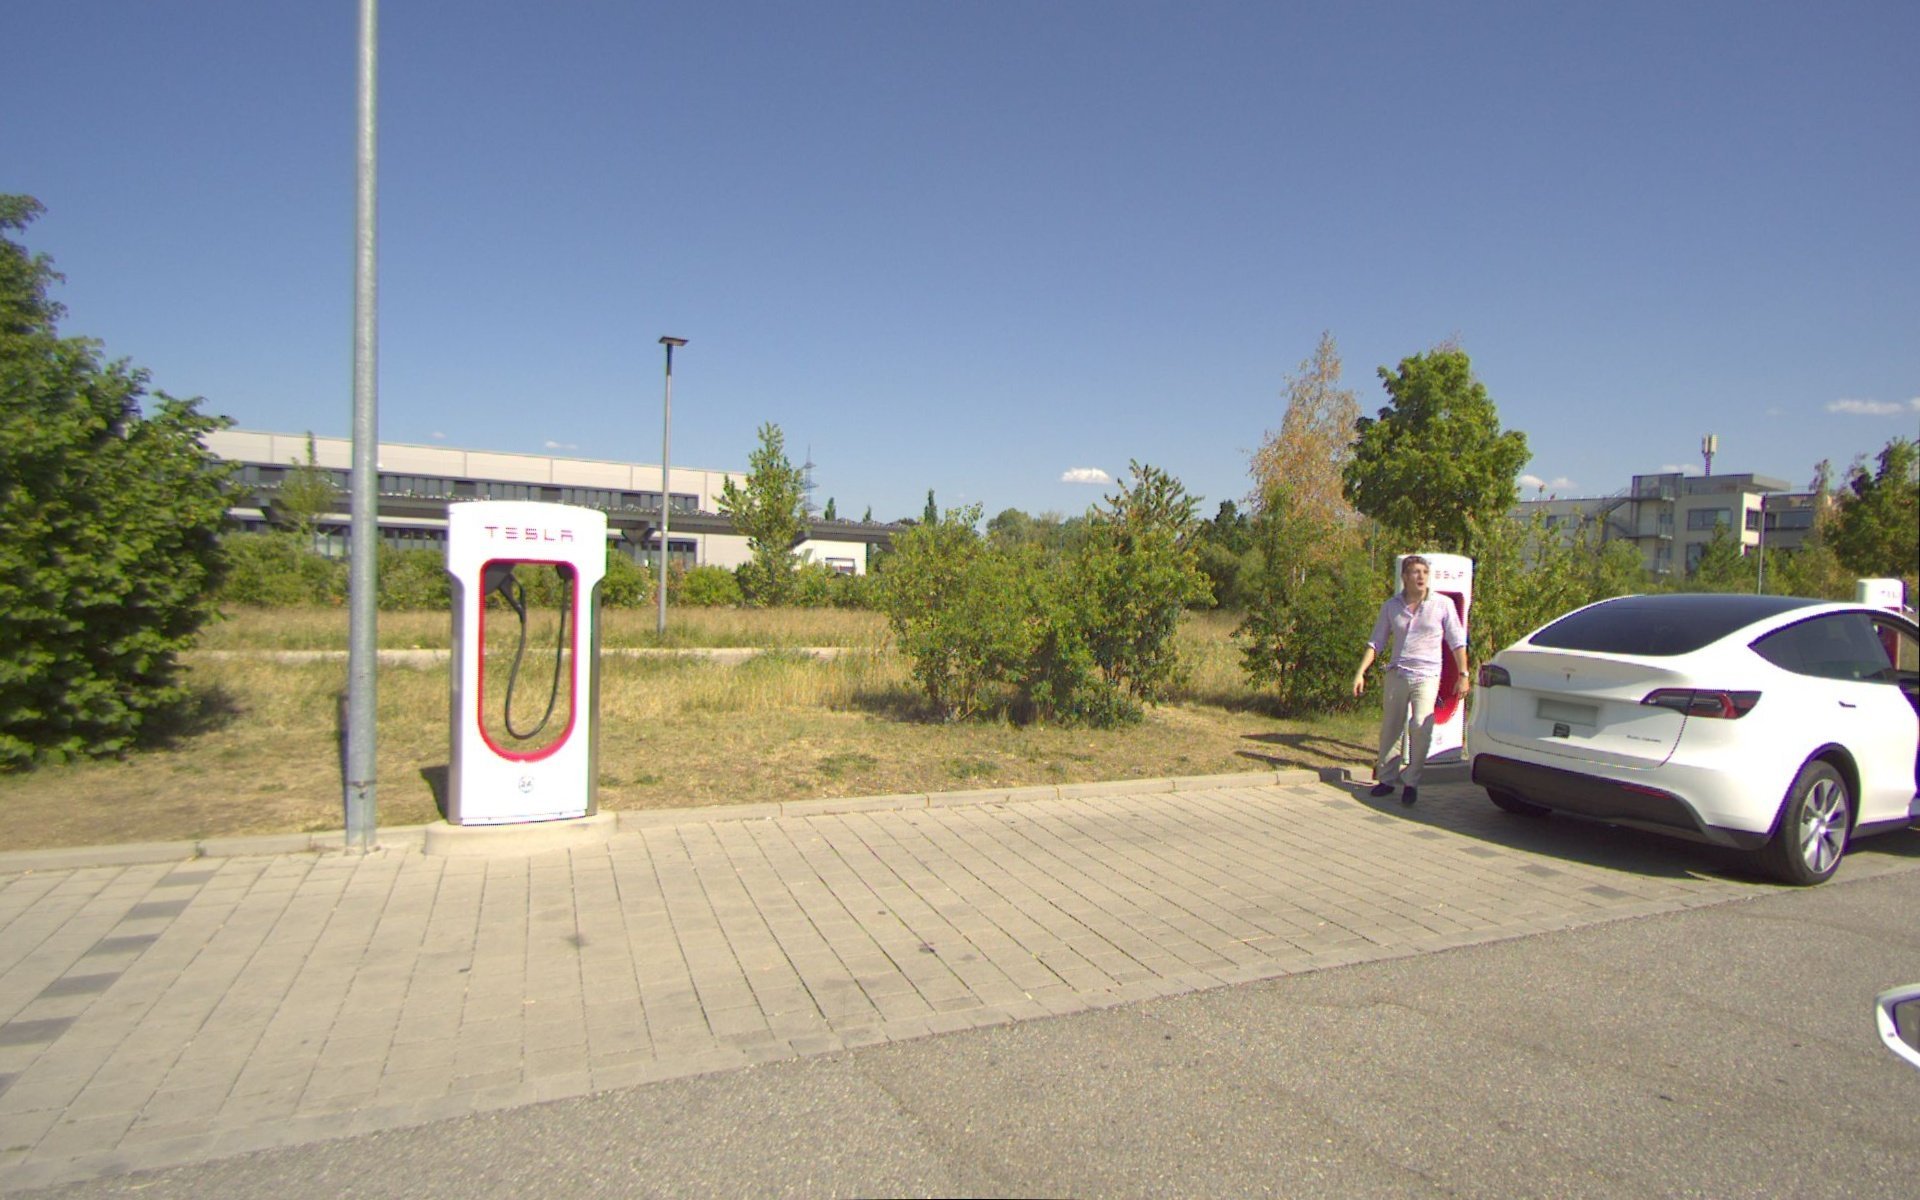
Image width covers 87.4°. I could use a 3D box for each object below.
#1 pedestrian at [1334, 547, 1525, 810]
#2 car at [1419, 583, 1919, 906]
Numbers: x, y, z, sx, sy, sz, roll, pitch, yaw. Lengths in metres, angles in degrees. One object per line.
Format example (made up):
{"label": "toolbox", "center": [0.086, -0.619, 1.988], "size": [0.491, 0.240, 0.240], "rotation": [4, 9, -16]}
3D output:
{"label": "pedestrian", "center": [3.479, 0.544, 7.479], "size": [1.021, 1.824, 0.733], "rotation": [1, 2, -22]}
{"label": "car", "center": [5.511, 0.766, 7.007], "size": [4.432, 1.622, 1.856], "rotation": [1, 2, -28]}
